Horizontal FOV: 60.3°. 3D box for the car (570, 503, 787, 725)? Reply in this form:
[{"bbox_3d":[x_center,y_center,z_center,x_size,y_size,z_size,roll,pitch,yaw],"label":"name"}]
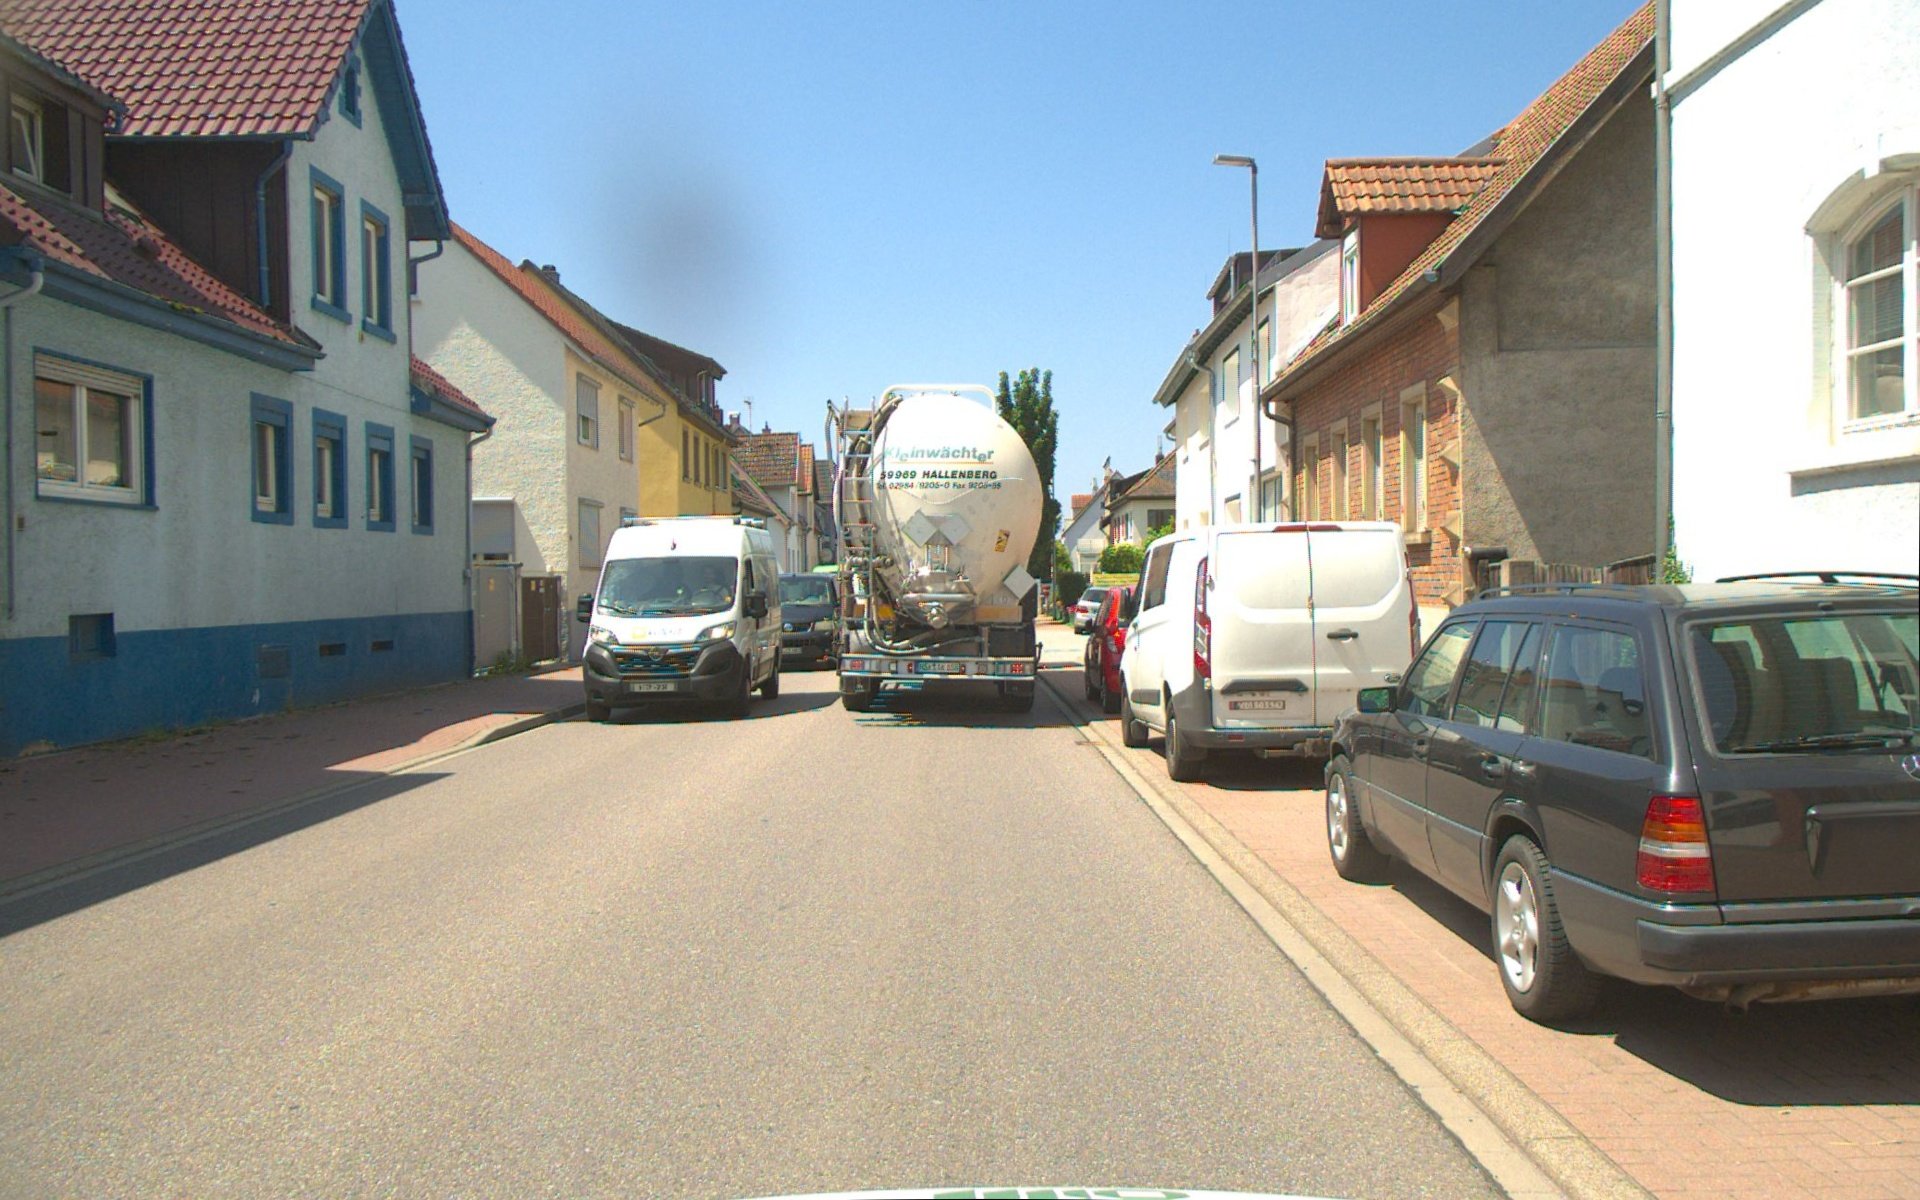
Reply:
[{"bbox_3d":[-3.650,0.138,22.532,2.082,2.586,5.460,-2,1,-2],"label":"car"}]

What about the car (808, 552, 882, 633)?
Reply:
[{"bbox_3d":[-3.632,-0.250,53.213,2.009,2.394,6.080,-2,1,-1],"label":"car"}]

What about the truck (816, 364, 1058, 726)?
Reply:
[{"bbox_3d":[-0.338,-0.612,22.568,2.677,4.029,8.139,0,0,-1],"label":"truck"}]

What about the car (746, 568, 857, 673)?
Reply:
[{"bbox_3d":[-3.240,0.379,34.724,1.843,1.977,5.117,-2,0,-1],"label":"car"}]

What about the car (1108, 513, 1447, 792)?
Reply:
[{"bbox_3d":[2.558,0.361,14.590,1.907,2.004,4.783,-1,1,-2],"label":"car"}]

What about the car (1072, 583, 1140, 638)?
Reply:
[{"bbox_3d":[4.656,0.289,52.301,1.776,1.488,4.889,4,1,8],"label":"car"}]

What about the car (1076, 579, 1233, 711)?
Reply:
[{"bbox_3d":[2.476,0.526,21.802,1.577,1.554,3.676,-1,1,0],"label":"car"}]

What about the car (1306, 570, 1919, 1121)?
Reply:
[{"bbox_3d":[2.815,0.649,6.869,1.734,1.491,4.577,-1,1,-1],"label":"car"}]
